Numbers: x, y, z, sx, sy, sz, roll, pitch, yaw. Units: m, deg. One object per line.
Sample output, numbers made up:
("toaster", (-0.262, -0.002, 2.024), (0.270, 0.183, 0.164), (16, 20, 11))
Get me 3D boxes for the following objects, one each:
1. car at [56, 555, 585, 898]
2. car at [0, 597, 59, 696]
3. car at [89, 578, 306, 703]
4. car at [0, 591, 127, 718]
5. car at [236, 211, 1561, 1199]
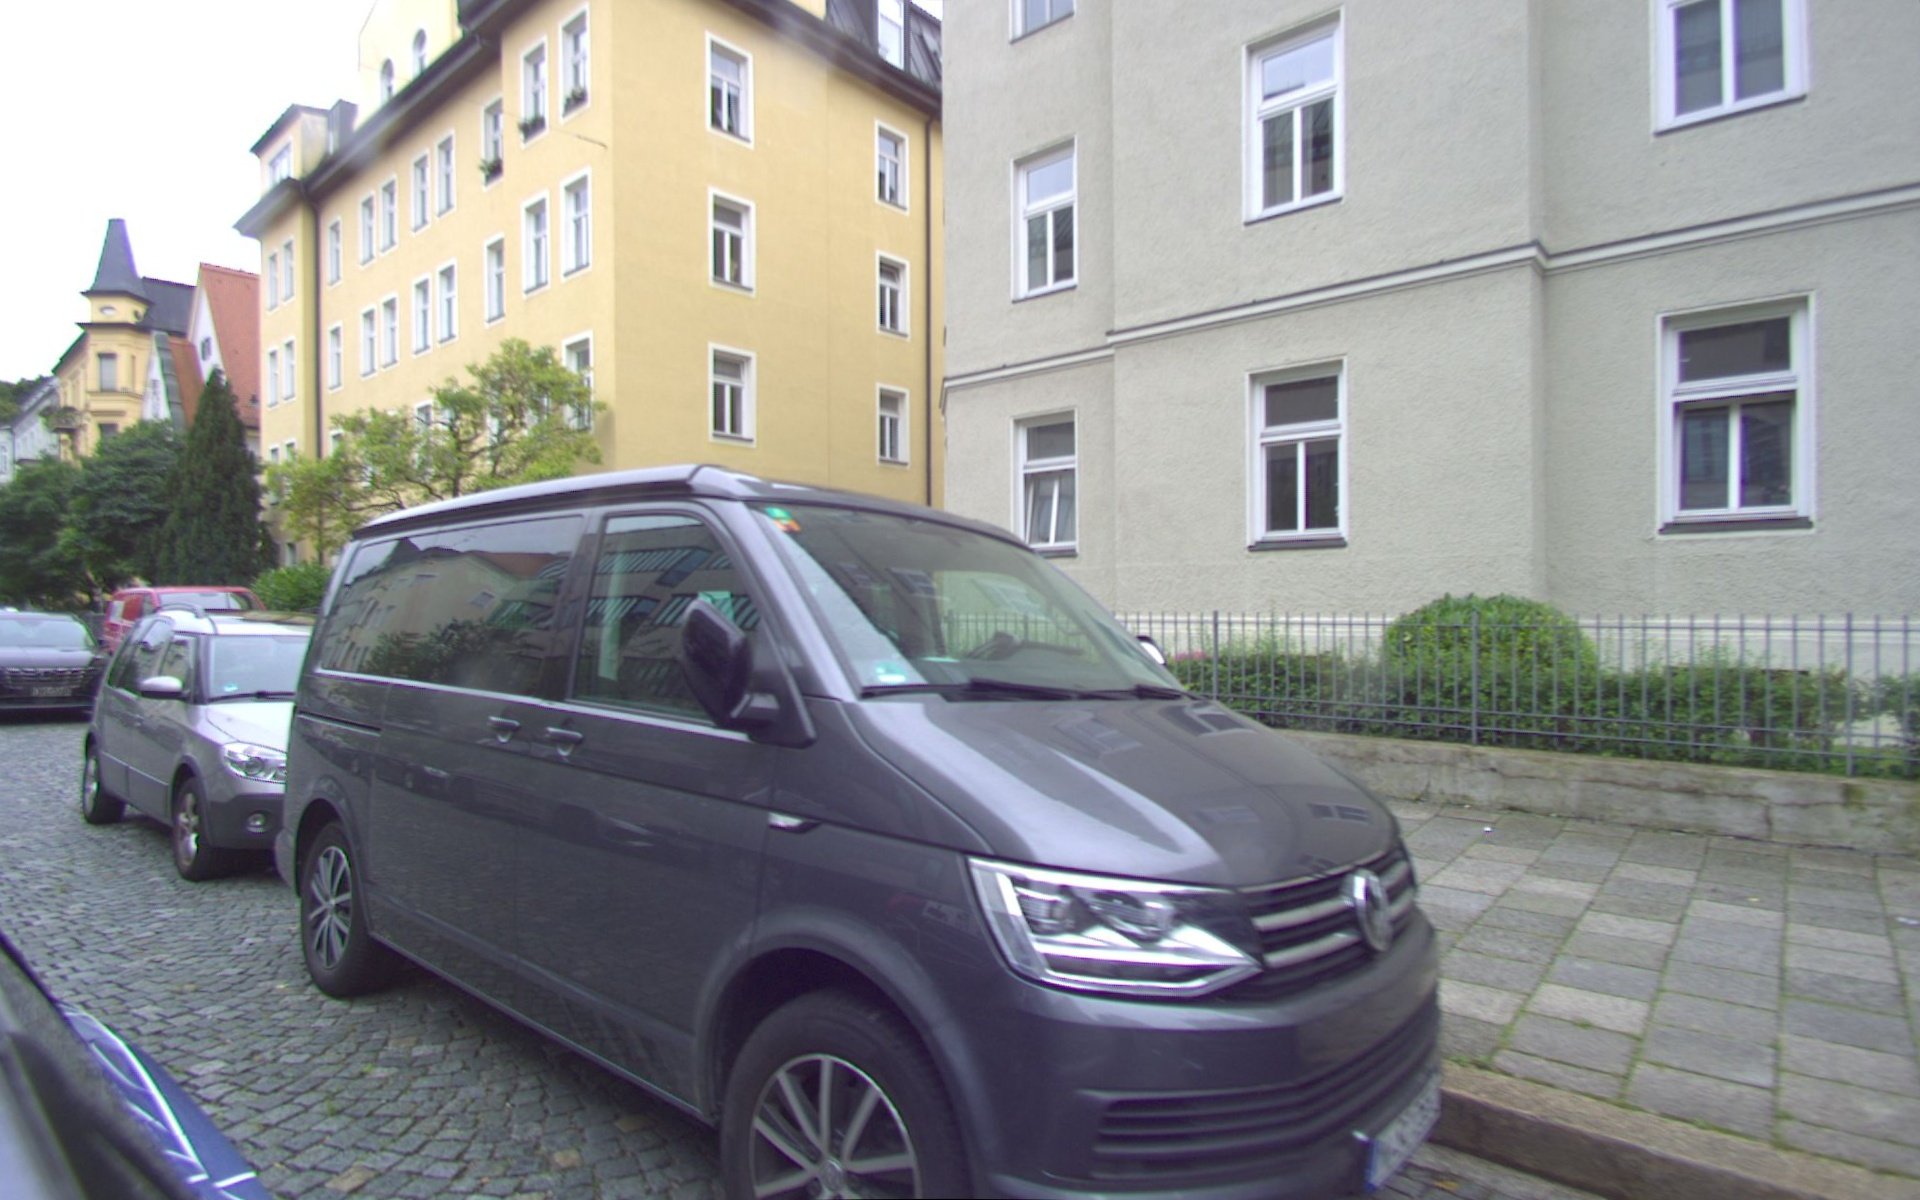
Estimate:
("car", (-4.766, 0.710, 7.287), (4.398, 1.748, 1.847), (-1, -3, 39))
("car", (-19.693, 0.882, 20.181), (5.173, 1.823, 1.985), (-1, -2, 42))
("car", (-13.971, 0.659, 18.404), (5.326, 1.945, 1.974), (-1, 1, 40))
("car", (-14.773, 0.811, 15.838), (4.754, 1.748, 1.897), (-1, -4, 42))
("car", (-0.766, 0.482, 3.662), (4.824, 1.932, 1.854), (-1, -3, 40))
